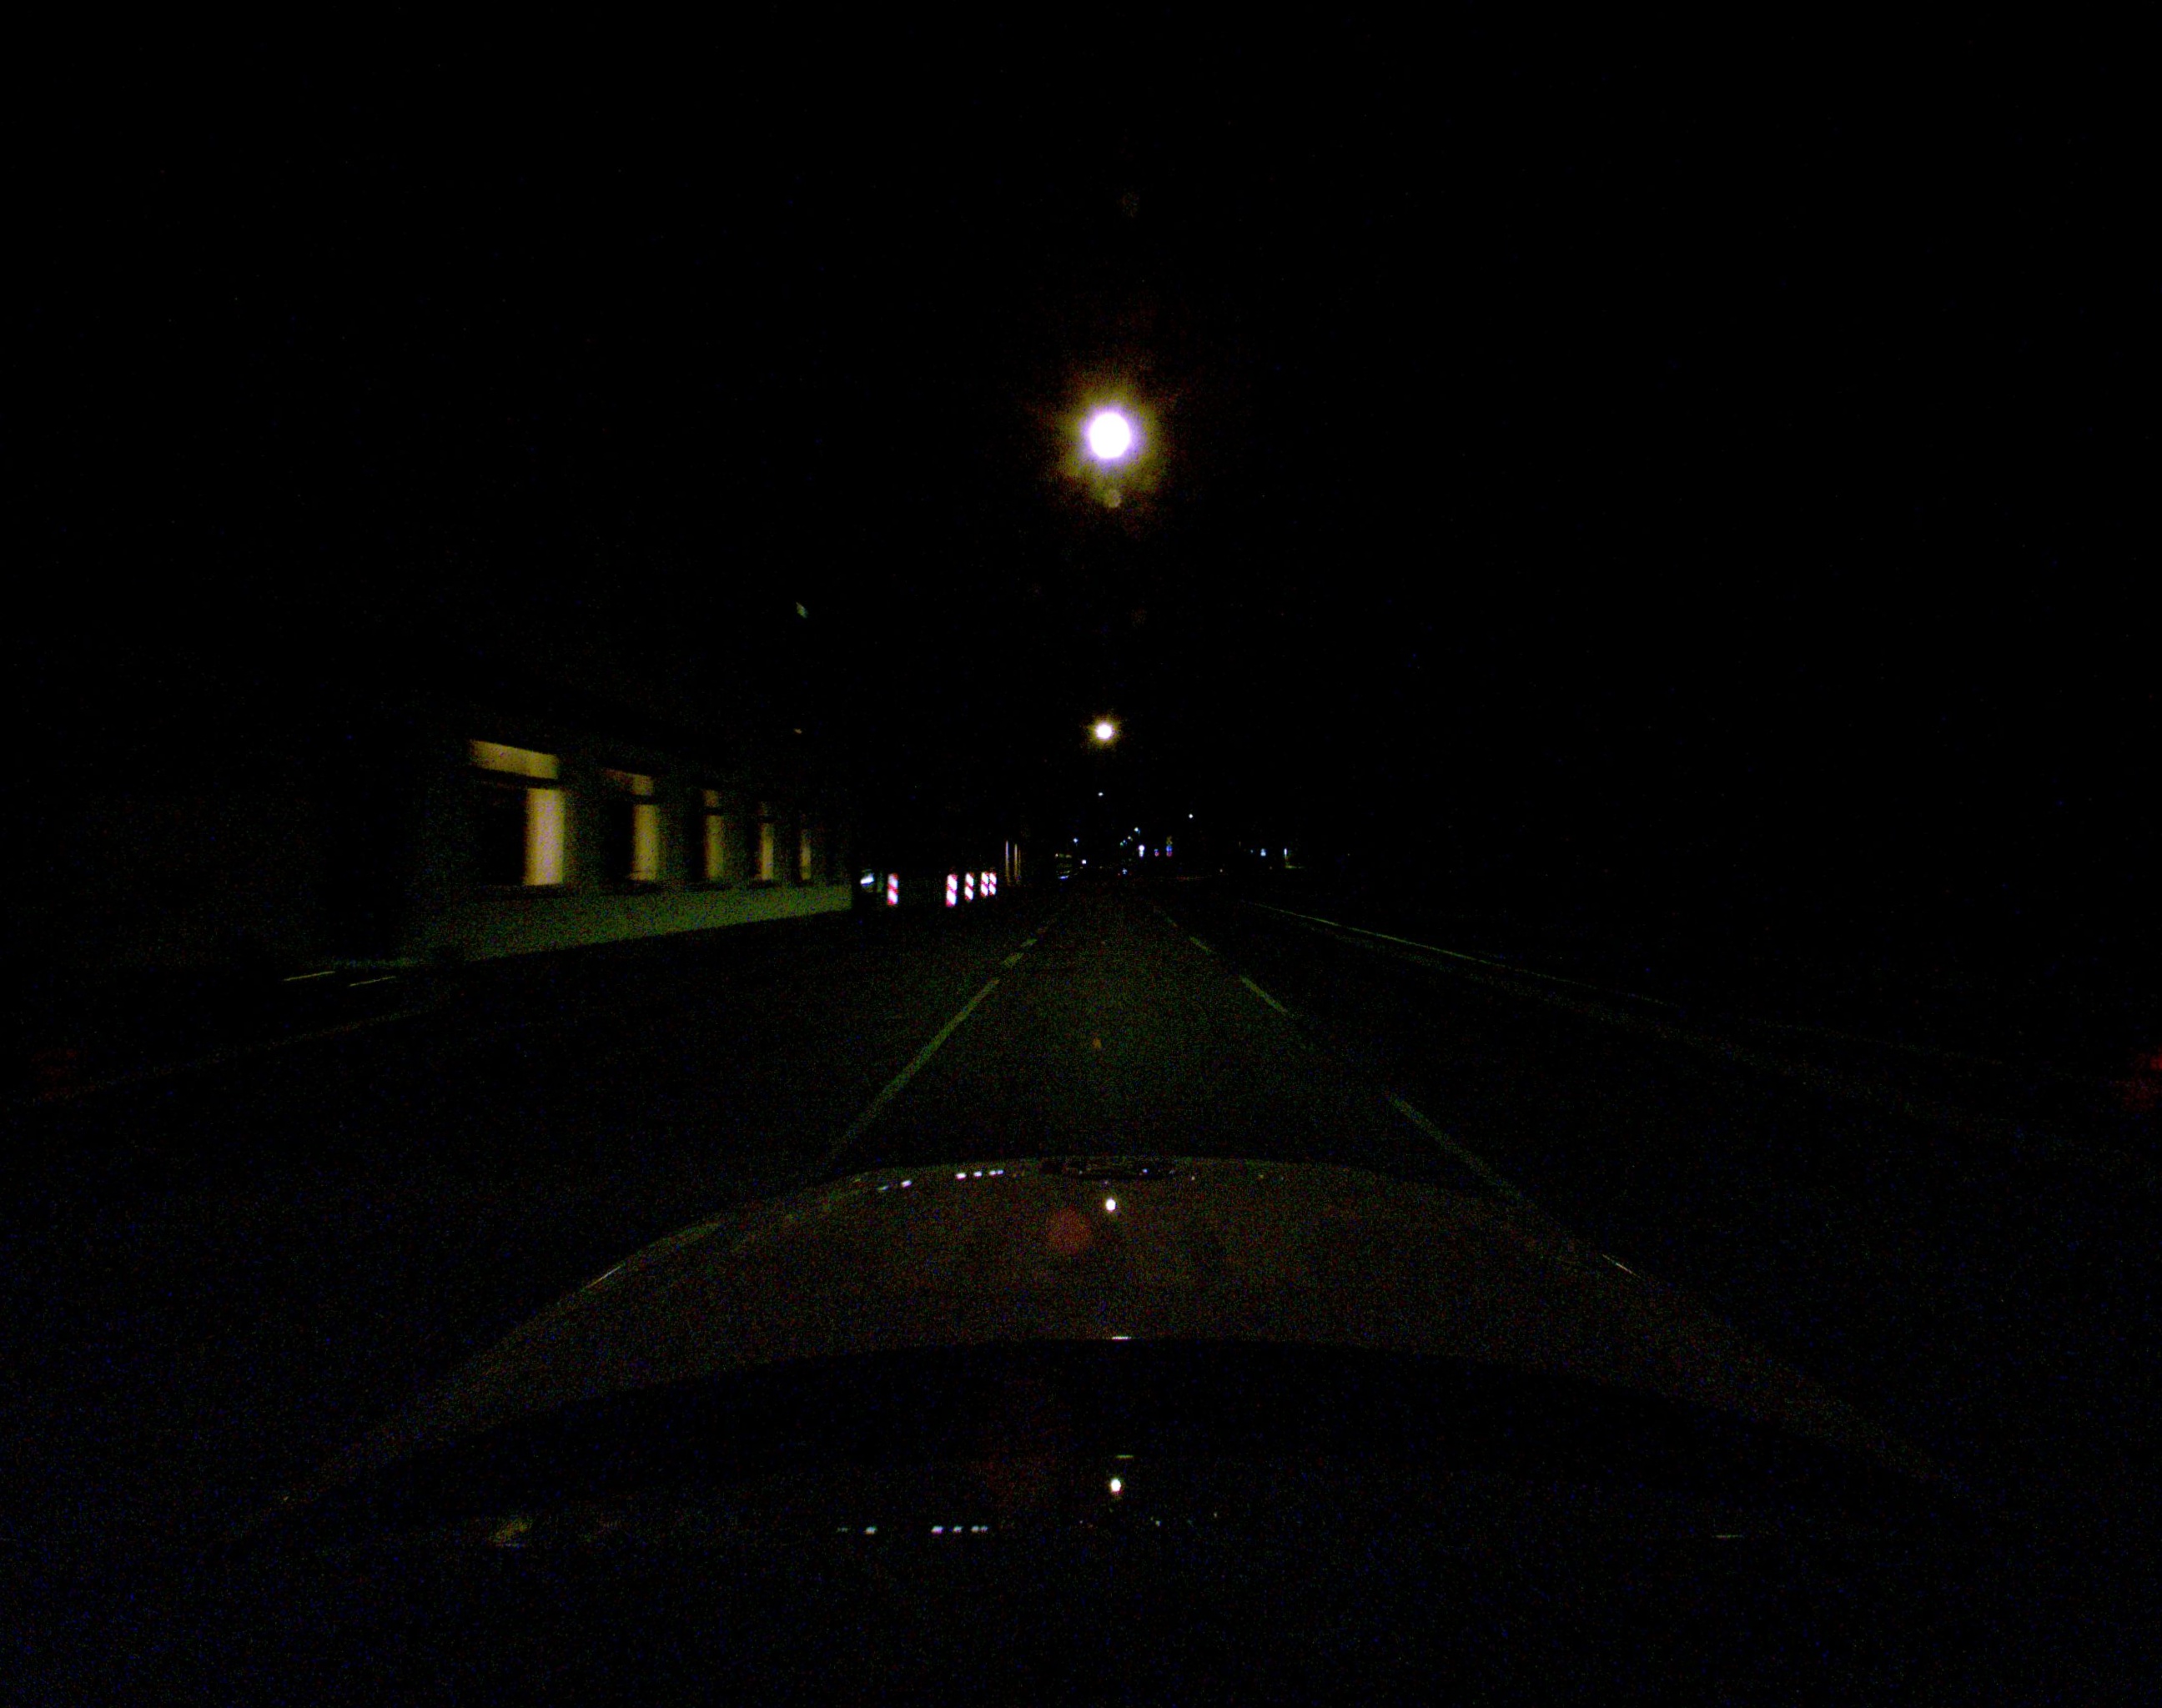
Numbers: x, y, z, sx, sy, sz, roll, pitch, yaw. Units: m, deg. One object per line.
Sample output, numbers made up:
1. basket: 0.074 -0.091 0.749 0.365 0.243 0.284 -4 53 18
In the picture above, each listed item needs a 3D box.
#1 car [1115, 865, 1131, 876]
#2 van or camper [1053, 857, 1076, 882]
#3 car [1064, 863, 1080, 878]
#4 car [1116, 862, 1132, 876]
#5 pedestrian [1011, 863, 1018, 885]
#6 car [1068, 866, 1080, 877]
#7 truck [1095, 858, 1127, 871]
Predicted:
1. car: 5.378 2.117 104.564 1.956 1.383 4.001 -1 -2 2
2. van or camper: -1.747 1.722 88.813 2.150 2.536 6.227 -3 -1 1
3. car: -1.205 2.225 109.972 1.986 1.955 4.806 -1 -1 1
4. car: 5.215 1.877 99.162 1.876 1.603 4.110 -2 -2 3
5. pedestrian: -5.350 1.602 65.429 0.416 1.708 0.440 -1 -2 -15
6. car: -1.100 2.645 122.197 1.699 1.510 4.099 0 -2 1
7. truck: 6.436 2.282 176.697 6.758 2.844 1.998 0 -1 -2
